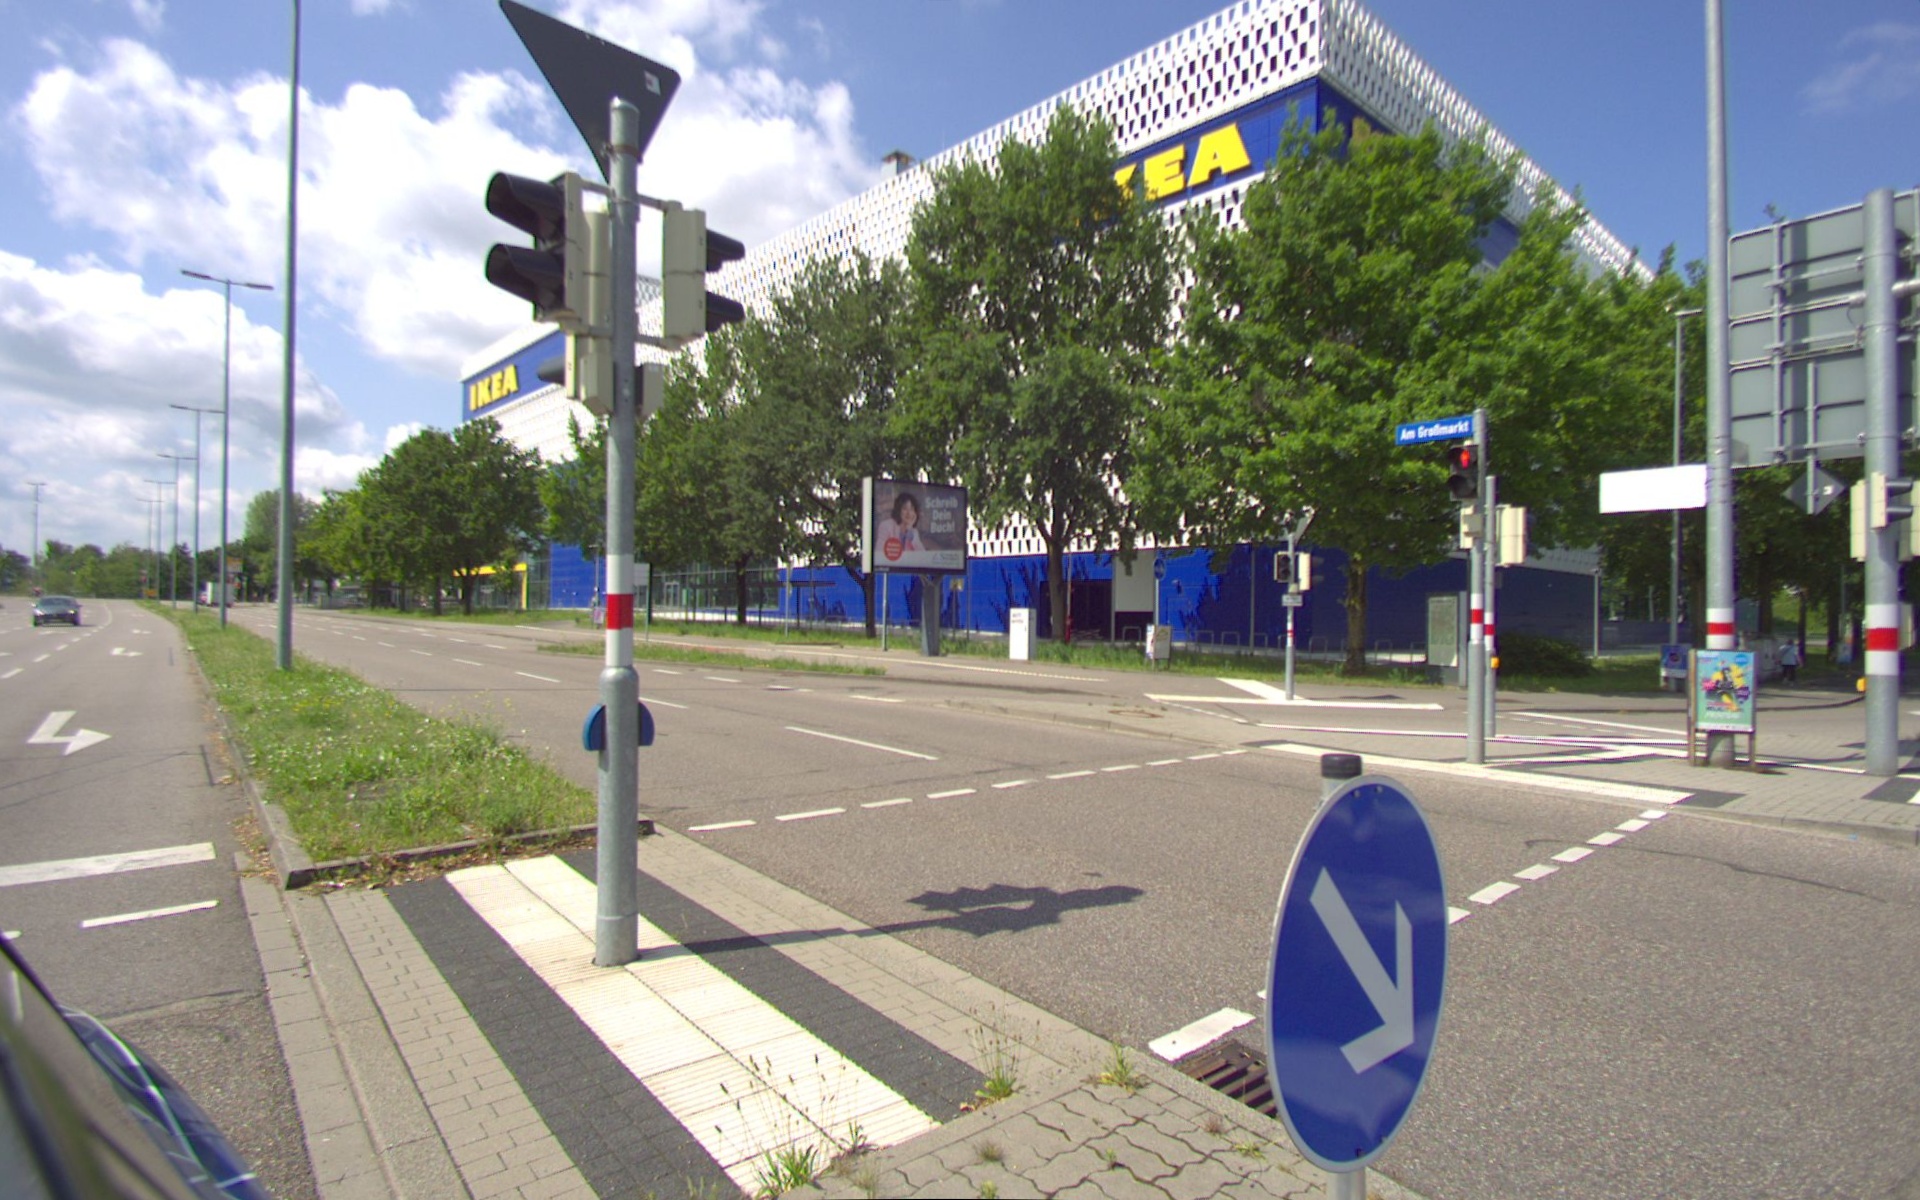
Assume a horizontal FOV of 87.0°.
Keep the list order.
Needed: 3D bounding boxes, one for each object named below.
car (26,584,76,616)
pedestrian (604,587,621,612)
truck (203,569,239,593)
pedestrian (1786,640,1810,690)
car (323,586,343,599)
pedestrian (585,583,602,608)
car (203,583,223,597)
[{"bbox_3d":[-44.986,0.009,50.133,1.582,1.541,4.277,1,-1,-39],"label":"car"},{"bbox_3d":[-24.747,-0.036,71.995,0.840,1.741,1.167,0,1,-36],"label":"pedestrian"},{"bbox_3d":[-85.495,-2.200,117.060,2.928,2.772,5.794,0,1,-41],"label":"truck"},{"bbox_3d":[27.071,2.081,32.697,0.749,1.567,0.505,2,-2,-43],"label":"pedestrian"},{"bbox_3d":[-85.856,-0.985,138.514,1.911,1.696,4.008,0,1,-38],"label":"car"},{"bbox_3d":[-25.875,-0.333,71.483,0.840,1.741,1.167,0,1,-36],"label":"pedestrian"},{"bbox_3d":[-91.242,-1.263,123.633,1.911,1.696,4.008,0,1,-38],"label":"car"}]
